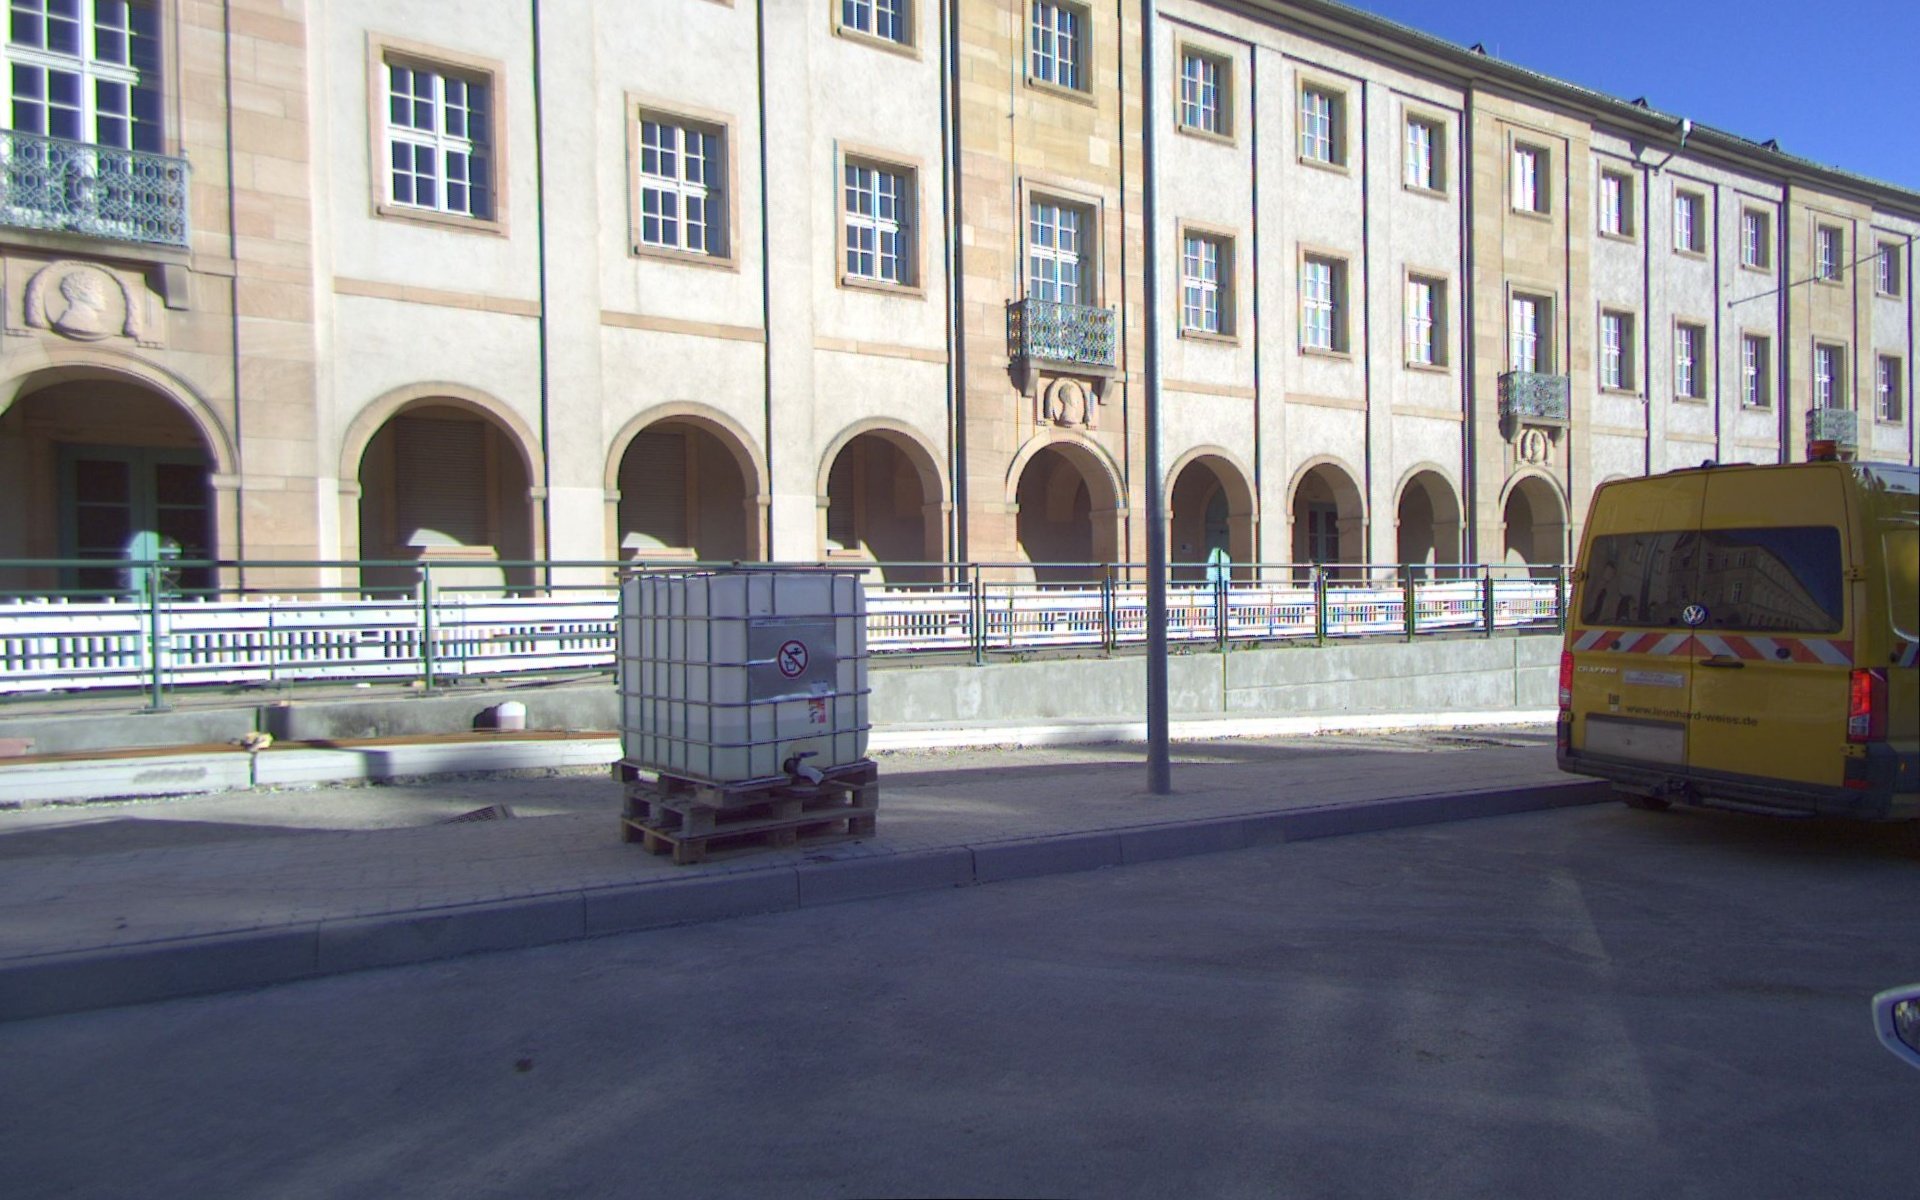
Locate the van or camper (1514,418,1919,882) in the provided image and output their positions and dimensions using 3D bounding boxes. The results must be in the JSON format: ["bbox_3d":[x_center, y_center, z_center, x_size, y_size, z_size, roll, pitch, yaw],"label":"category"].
[{"bbox_3d":[7.756,0.362,8.289,6.740,2.647,2.184,2,1,-28],"label":"van or camper"}]
